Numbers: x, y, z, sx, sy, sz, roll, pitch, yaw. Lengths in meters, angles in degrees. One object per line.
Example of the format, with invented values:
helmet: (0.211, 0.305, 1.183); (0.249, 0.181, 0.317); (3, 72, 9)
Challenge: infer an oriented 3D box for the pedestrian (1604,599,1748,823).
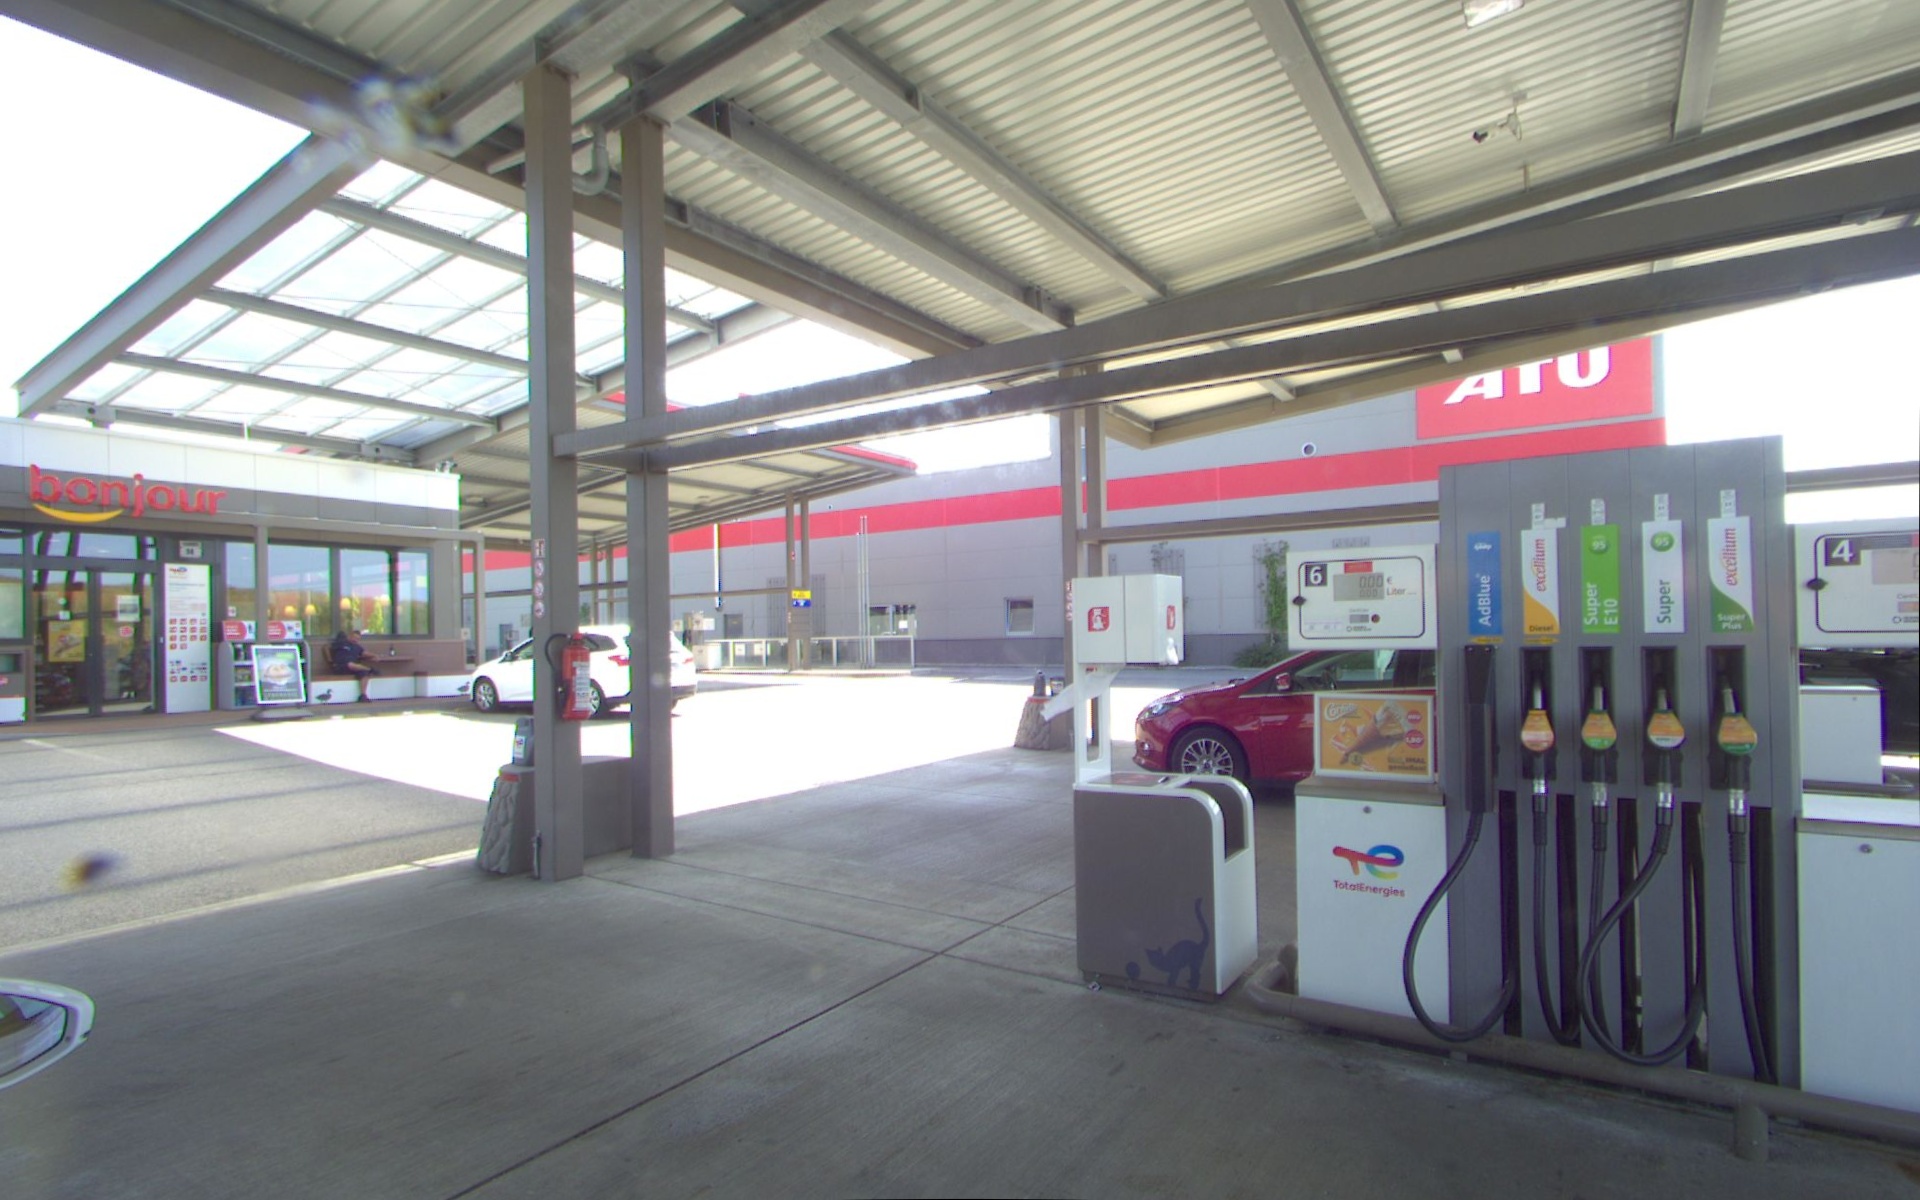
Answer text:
pedestrian: (5.877, 0.870, 8.266); (0.915, 1.725, 0.699); (-1, -1, 34)

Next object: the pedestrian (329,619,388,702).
pedestrian: (-10.854, 1.079, 18.077); (0.663, 1.450, 0.700); (-1, -1, 32)

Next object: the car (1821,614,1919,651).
car: (34.998, 1.206, 37.658); (3.761, 1.334, 1.682); (-1, -1, 0)

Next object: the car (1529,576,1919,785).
car: (8.607, 0.741, 10.255); (4.730, 1.875, 2.023); (0, 0, 33)

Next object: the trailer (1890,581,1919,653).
trailer: (35.148, 0.567, 34.648); (3.922, 2.459, 2.000); (-1, -1, 6)

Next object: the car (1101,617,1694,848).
car: (3.430, 0.911, 8.314); (4.173, 1.488, 1.695); (-1, -1, 33)

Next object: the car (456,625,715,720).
car: (-6.518, 1.183, 17.367); (4.253, 1.475, 1.829); (-1, -1, 27)
